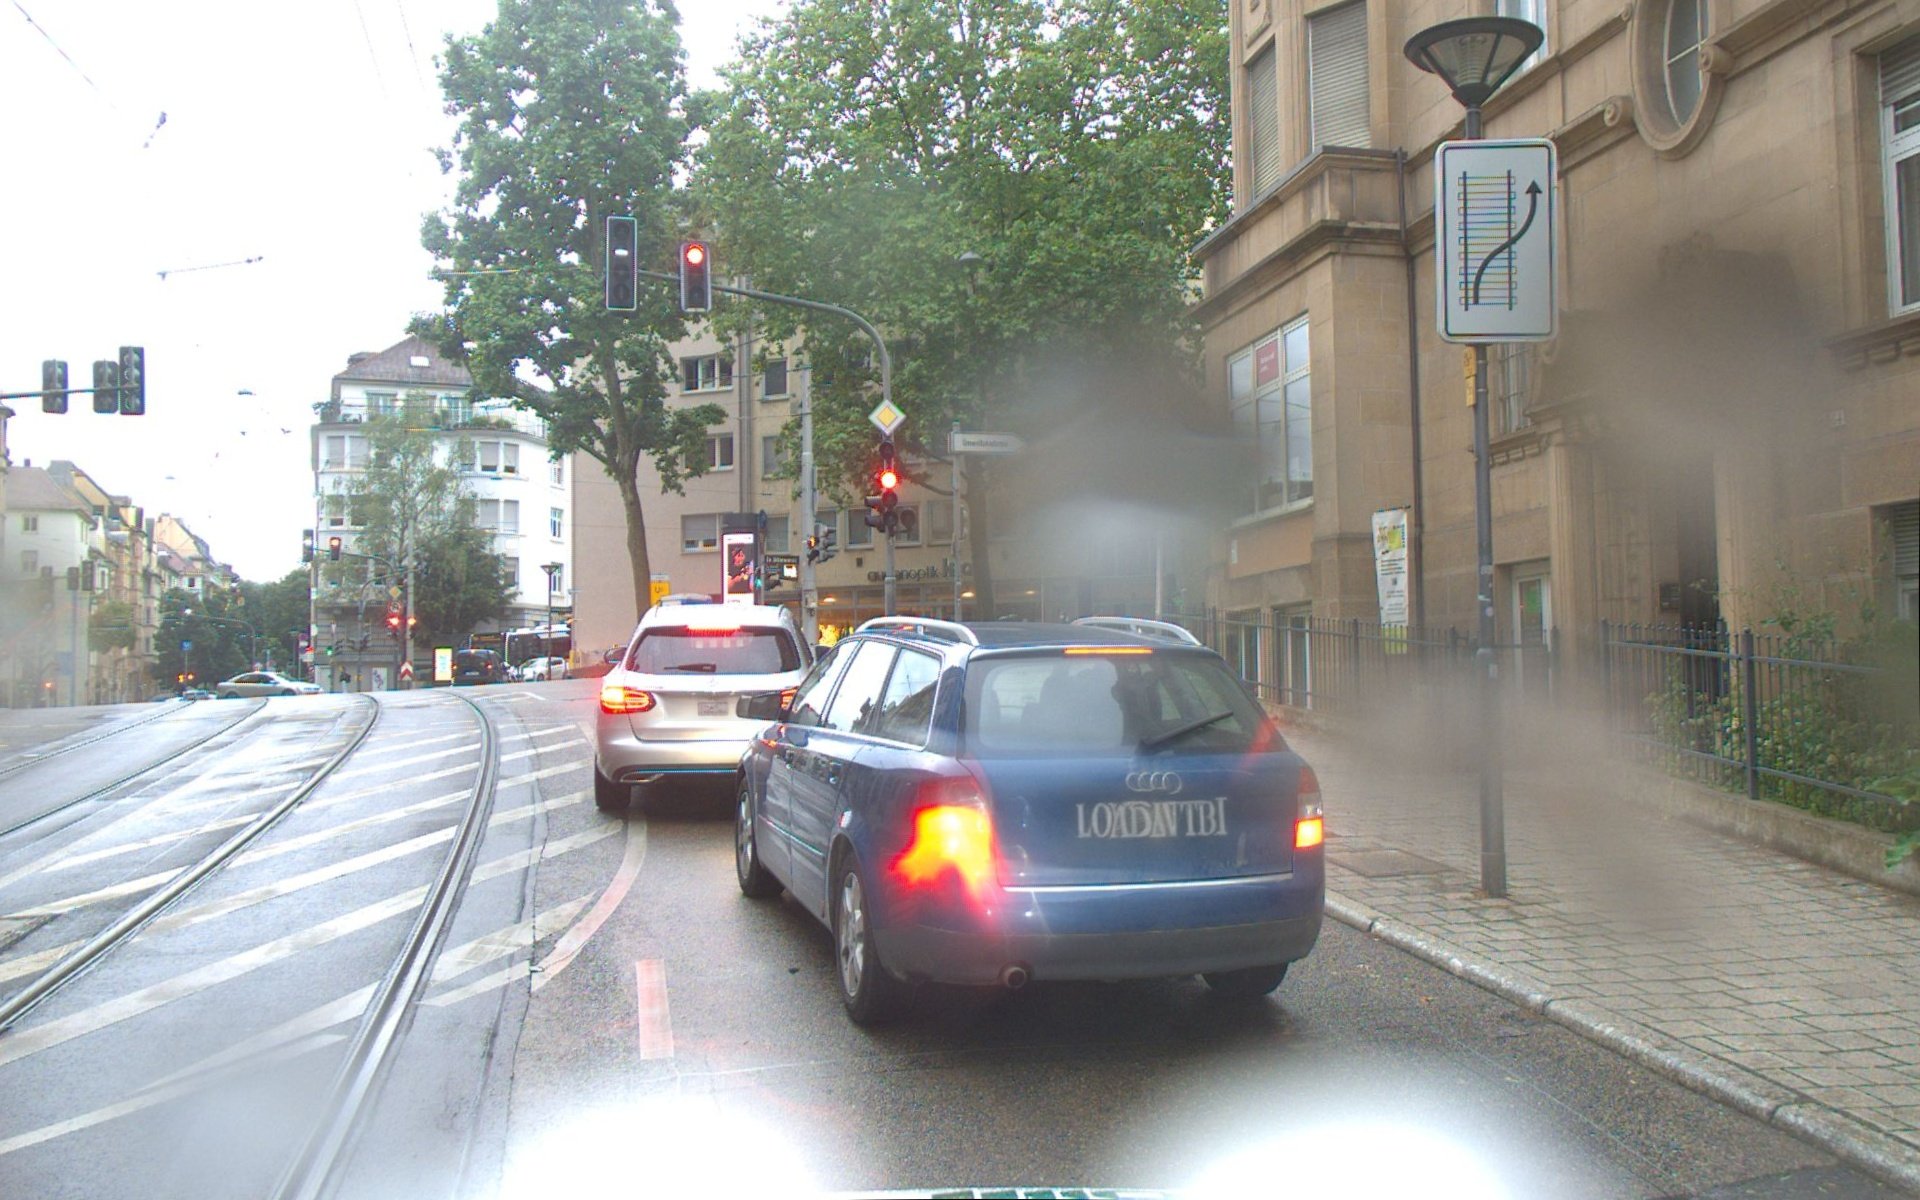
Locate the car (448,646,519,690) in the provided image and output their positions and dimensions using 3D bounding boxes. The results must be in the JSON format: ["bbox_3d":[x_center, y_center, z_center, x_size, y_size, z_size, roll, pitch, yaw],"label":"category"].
[{"bbox_3d":[-19.463,2.766,67.667,1.758,1.536,3.999,-3,0,-2],"label":"car"}]

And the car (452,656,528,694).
[{"bbox_3d":[-23.564,3.741,83.026,1.756,1.642,4.002,-1,0,17],"label":"car"}]

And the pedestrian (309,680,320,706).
[{"bbox_3d":[-41.758,6.007,106.952,0.639,1.690,0.646,0,-1,-21],"label":"pedestrian"}]

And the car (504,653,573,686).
[{"bbox_3d":[-22.368,3.694,87.916,1.756,1.536,4.002,-1,0,17],"label":"car"}]

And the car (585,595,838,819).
[{"bbox_3d":[-1.904,0.711,12.907,1.678,1.481,3.546,0,0,-8],"label":"car"}]

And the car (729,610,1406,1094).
[{"bbox_3d":[0.130,0.786,7.252,1.683,1.440,4.017,0,0,-17],"label":"car"}]

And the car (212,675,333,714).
[{"bbox_3d":[-29.714,4.084,71.524,4.551,1.537,1.802,-1,0,11],"label":"car"}]

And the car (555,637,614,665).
[{"bbox_3d":[-22.899,3.106,101.055,1.756,1.536,4.002,-1,0,17],"label":"car"}]

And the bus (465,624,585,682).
[{"bbox_3d":[-24.592,2.926,94.041,2.793,2.911,8.741,-1,0,13],"label":"bus"}]

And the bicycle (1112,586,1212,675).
[{"bbox_3d":[2.898,0.428,23.737,1.278,1.194,0.524,-3,0,-13],"label":"bicycle"}]
